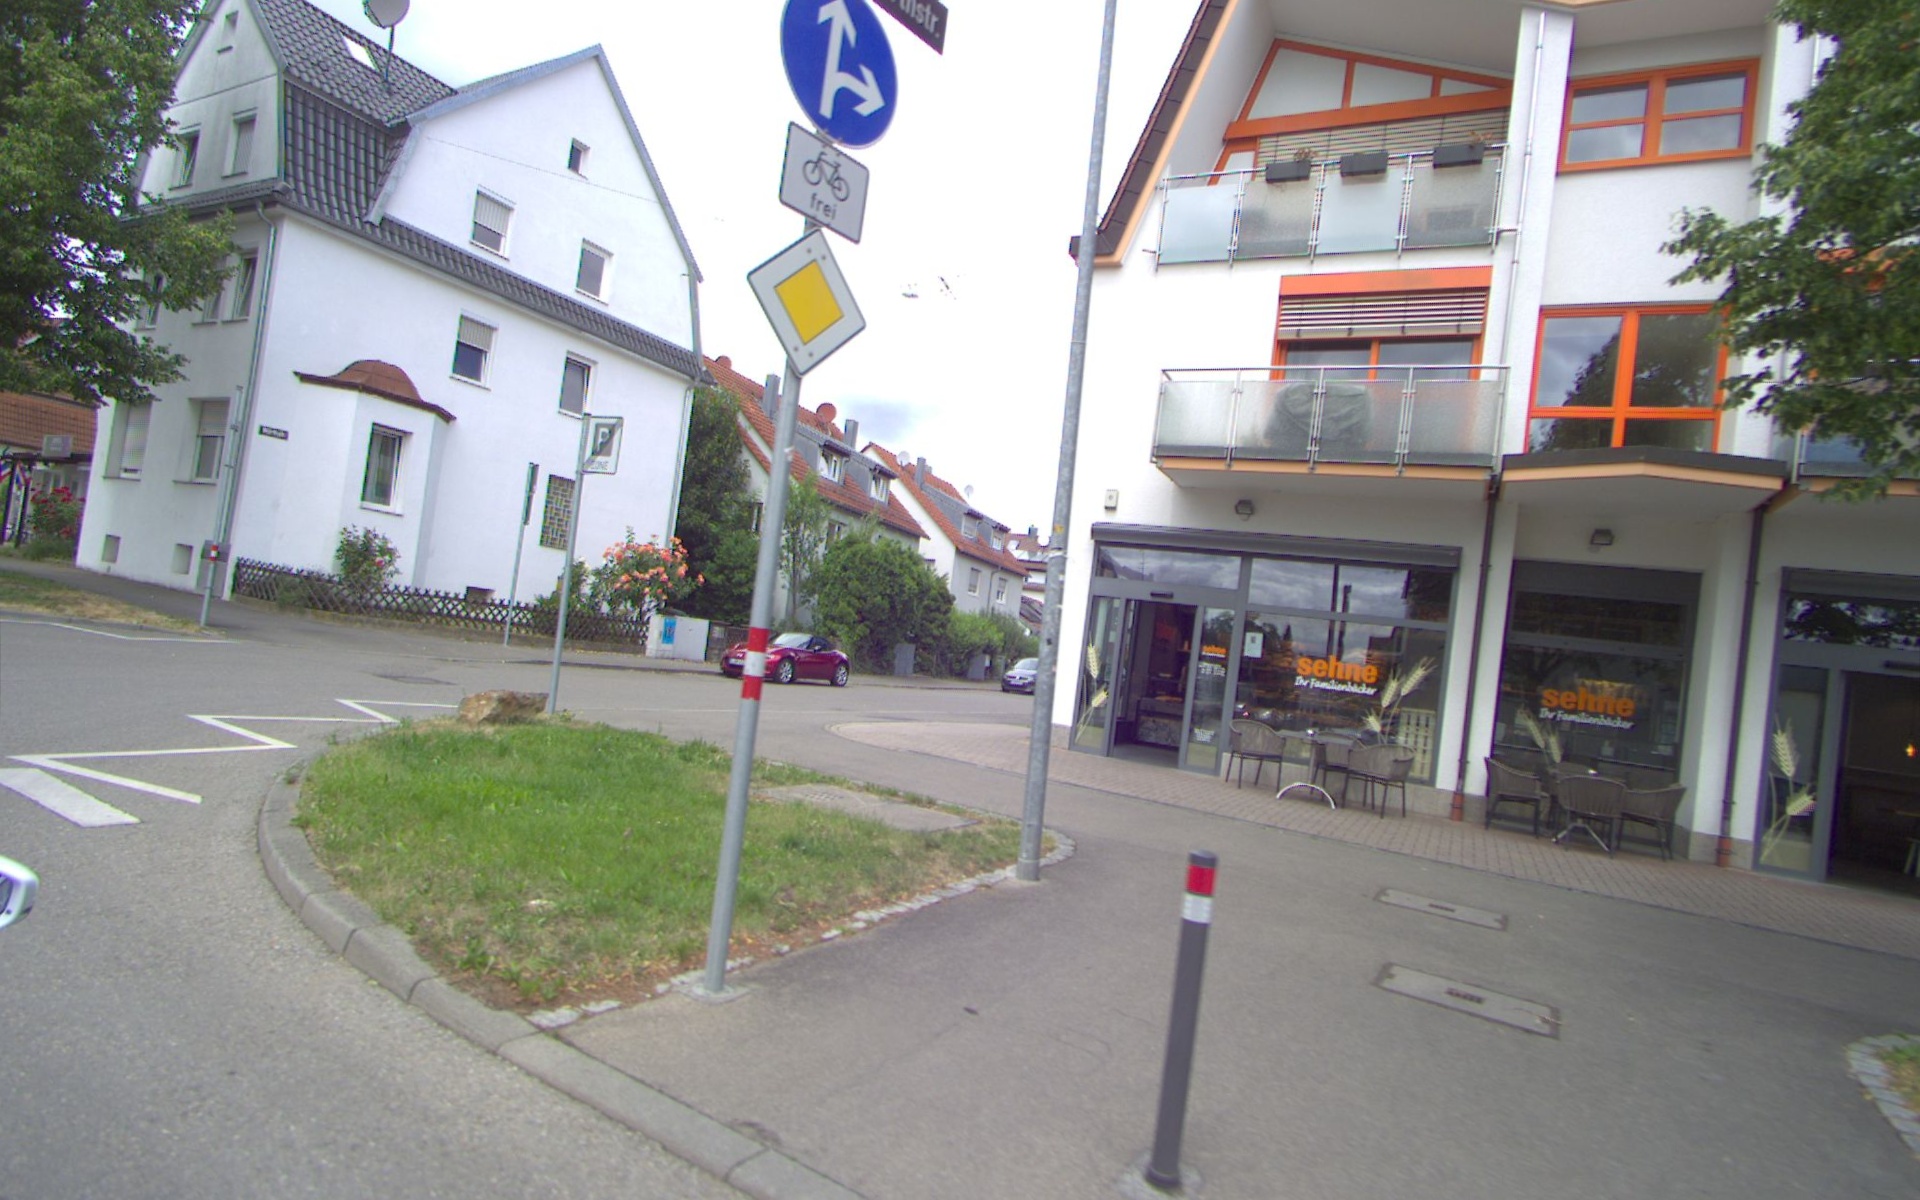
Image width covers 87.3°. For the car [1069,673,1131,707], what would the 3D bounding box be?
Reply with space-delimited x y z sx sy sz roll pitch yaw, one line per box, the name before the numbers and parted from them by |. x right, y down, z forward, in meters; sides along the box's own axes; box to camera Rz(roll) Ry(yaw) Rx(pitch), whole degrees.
car | 6.758 4.337 48.315 1.631 1.321 3.694 7 -2 29

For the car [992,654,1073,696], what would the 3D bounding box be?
car | 2.874 2.957 39.260 1.631 1.321 3.694 7 -2 29

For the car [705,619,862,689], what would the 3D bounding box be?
car | -4.183 1.343 24.359 1.716 1.244 3.708 7 -3 28
